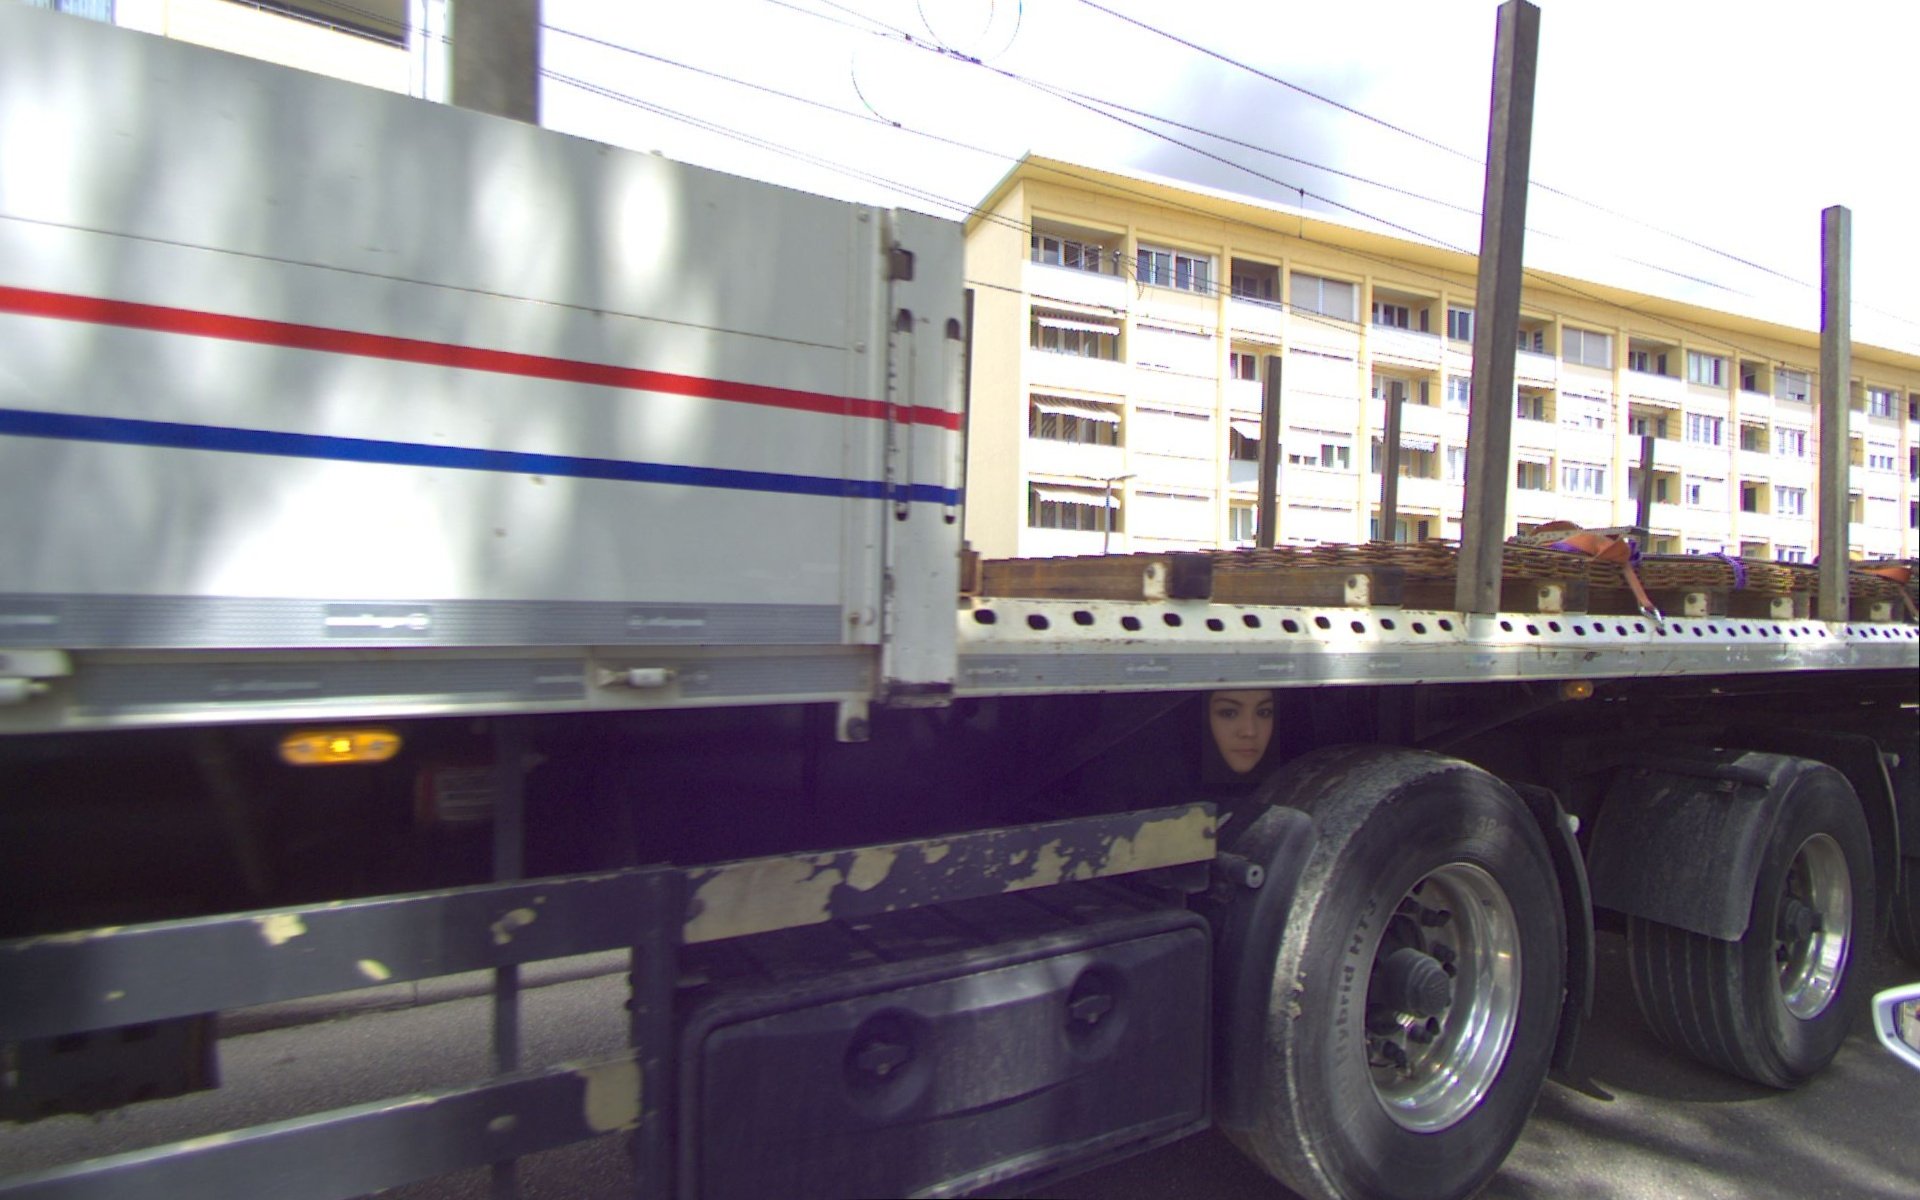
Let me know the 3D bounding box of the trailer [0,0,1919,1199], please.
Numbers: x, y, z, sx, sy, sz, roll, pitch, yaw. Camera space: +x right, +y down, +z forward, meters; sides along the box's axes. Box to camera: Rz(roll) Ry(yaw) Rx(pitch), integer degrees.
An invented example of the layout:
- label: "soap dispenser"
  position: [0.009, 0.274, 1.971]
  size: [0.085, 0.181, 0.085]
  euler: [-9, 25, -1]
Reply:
- label: "trailer"
  position: [-0.044, -0.366, 2.844]
  size: [13.513, 3.628, 2.685]
  euler: [1, 0, -30]
